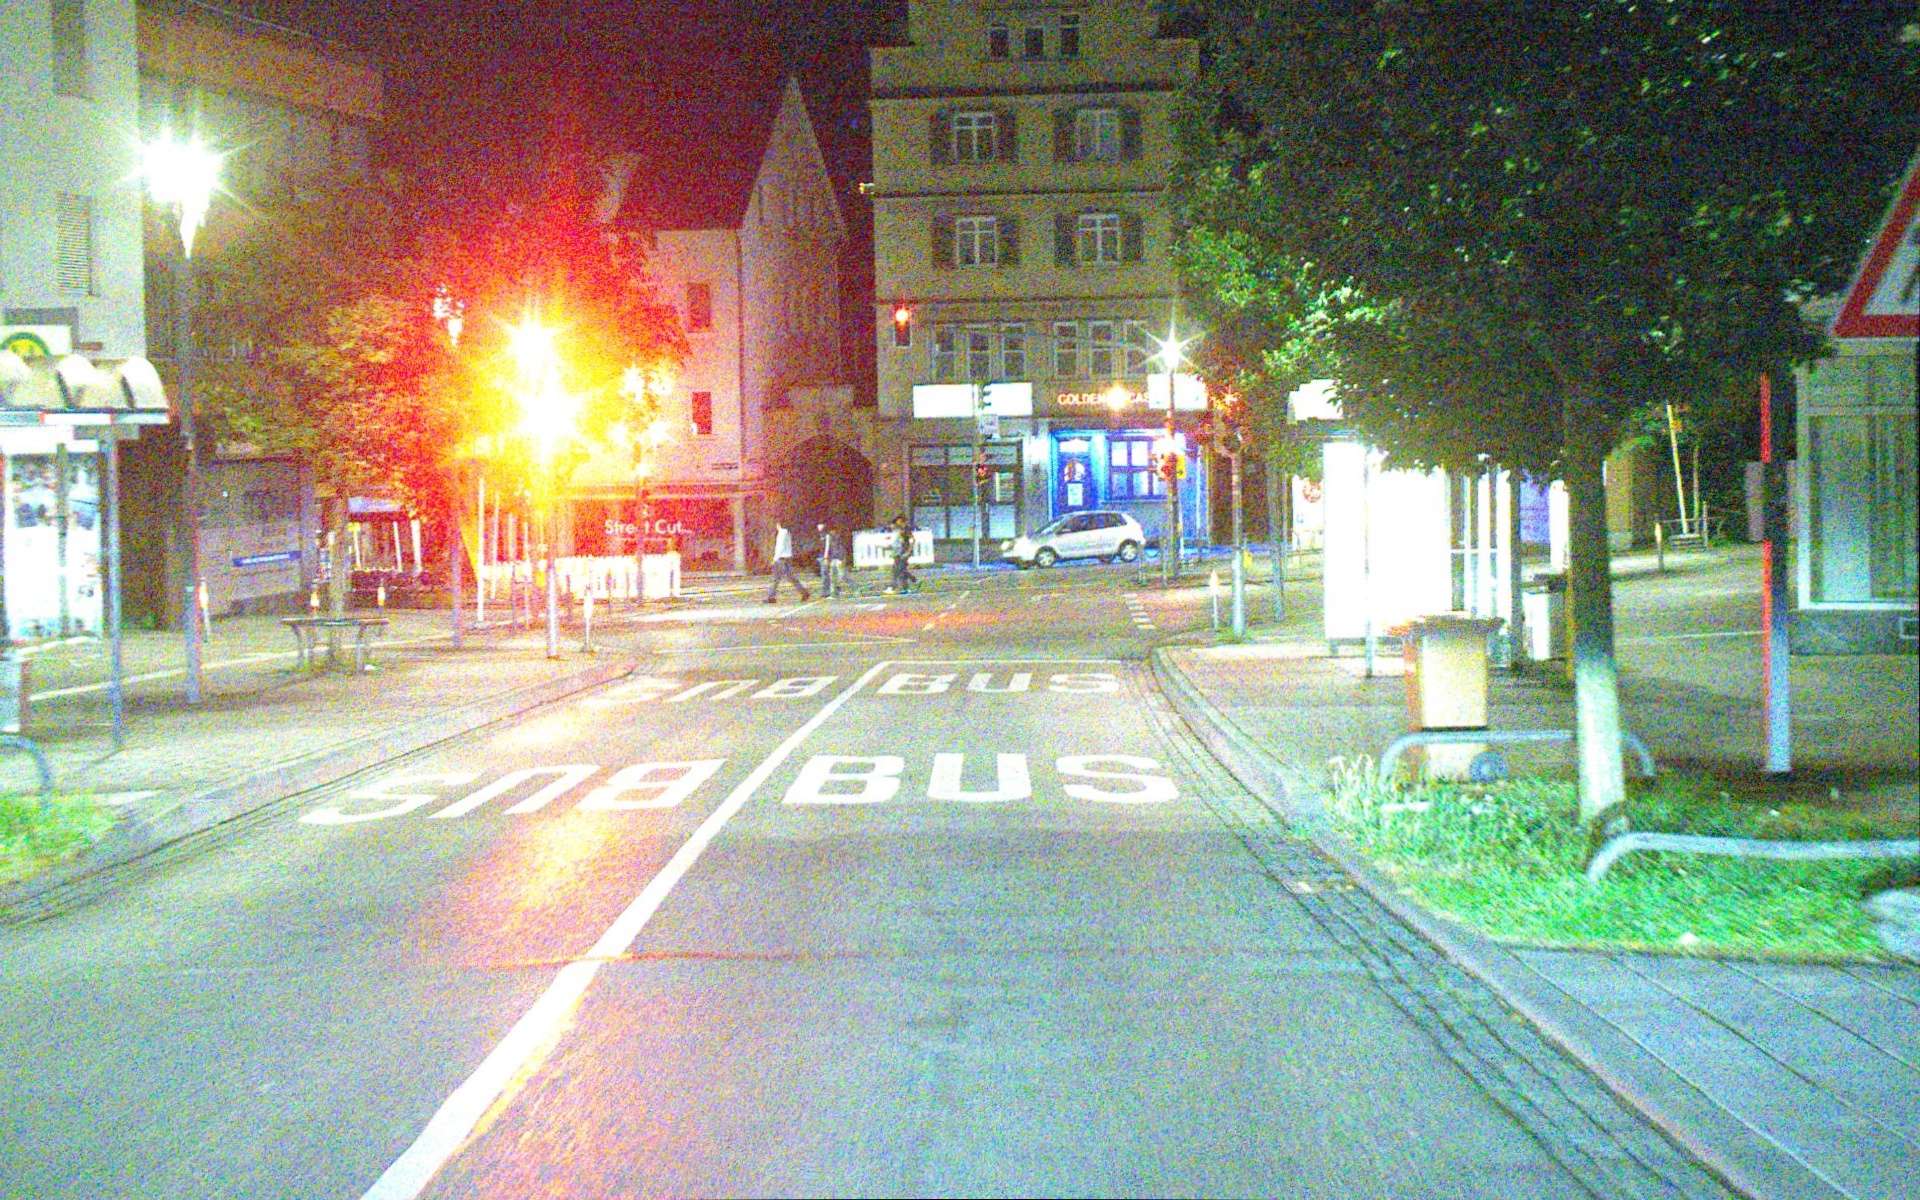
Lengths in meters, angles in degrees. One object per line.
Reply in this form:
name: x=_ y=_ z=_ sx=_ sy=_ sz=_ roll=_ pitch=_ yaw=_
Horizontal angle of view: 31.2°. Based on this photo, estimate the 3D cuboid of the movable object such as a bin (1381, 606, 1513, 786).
movable object such as a bin: x=2.575 y=0.501 z=18.210 sx=0.524 sy=0.934 sz=0.629 roll=0 pitch=0 yaw=-9

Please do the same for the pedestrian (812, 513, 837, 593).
pedestrian: x=-3.059 y=-1.058 z=77.658 sx=0.567 sy=1.789 sz=0.718 roll=0 pitch=0 yaw=-2

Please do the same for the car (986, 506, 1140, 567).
car: x=2.779 y=-1.709 z=93.027 sx=3.751 sy=1.612 sz=1.835 roll=0 pitch=0 yaw=-17

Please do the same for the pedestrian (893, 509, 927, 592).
pedestrian: x=-1.097 y=-1.080 z=74.892 sx=0.734 sy=1.789 sz=0.718 roll=0 pitch=0 yaw=-1

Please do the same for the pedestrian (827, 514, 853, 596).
pedestrian: x=-2.638 y=-0.987 z=75.623 sx=0.567 sy=1.789 sz=0.718 roll=0 pitch=0 yaw=-2

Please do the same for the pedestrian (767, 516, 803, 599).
pedestrian: x=-3.797 y=-0.925 z=74.551 sx=0.716 sy=1.789 sz=0.569 roll=0 pitch=0 yaw=-7

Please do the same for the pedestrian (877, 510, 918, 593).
pedestrian: x=-1.377 y=-1.061 z=75.508 sx=0.568 sy=1.789 sz=0.718 roll=0 pitch=0 yaw=-39
